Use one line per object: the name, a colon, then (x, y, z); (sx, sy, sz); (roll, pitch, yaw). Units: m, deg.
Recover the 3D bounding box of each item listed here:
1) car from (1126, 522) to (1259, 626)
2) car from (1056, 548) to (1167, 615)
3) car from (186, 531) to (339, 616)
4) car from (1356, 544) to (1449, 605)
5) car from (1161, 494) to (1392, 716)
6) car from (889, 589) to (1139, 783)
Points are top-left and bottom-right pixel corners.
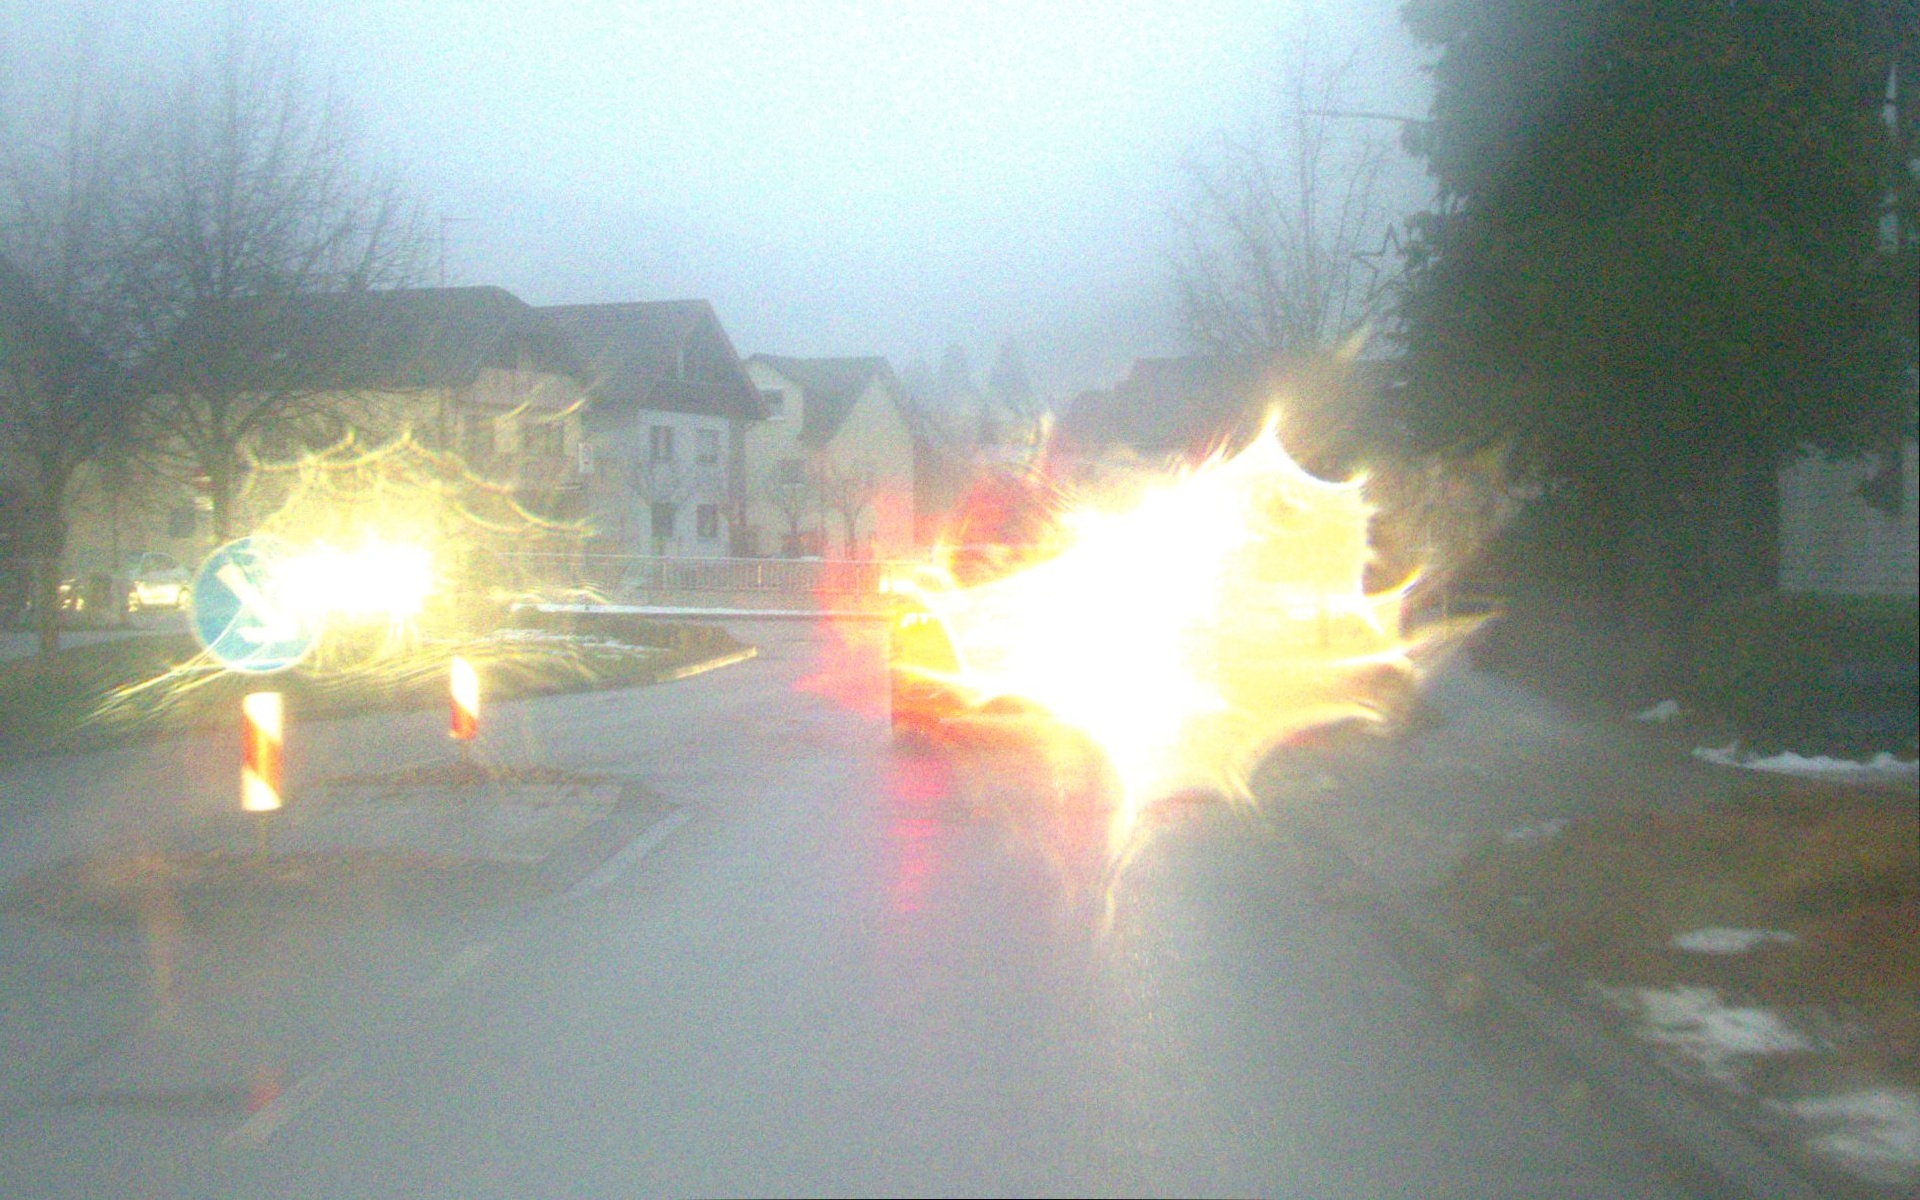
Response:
car: (4.686, -0.496, 68.924); (1.995, 2.007, 3.997); (1, 0, 14)
car: (3.524, -0.457, 79.330); (1.908, 1.483, 4.566); (1, 1, 11)
car: (-17.371, -0.674, 85.774); (1.995, 2.007, 3.997); (2, 1, 18)
car: (12.572, -0.726, 97.511); (1.995, 1.664, 3.997); (1, 1, 16)
car: (3.131, -0.001, 35.031); (1.977, 2.007, 5.745); (-2, 1, 2)
car: (0.413, 0.681, 29.558); (1.993, 1.520, 4.000); (0, 0, -1)
